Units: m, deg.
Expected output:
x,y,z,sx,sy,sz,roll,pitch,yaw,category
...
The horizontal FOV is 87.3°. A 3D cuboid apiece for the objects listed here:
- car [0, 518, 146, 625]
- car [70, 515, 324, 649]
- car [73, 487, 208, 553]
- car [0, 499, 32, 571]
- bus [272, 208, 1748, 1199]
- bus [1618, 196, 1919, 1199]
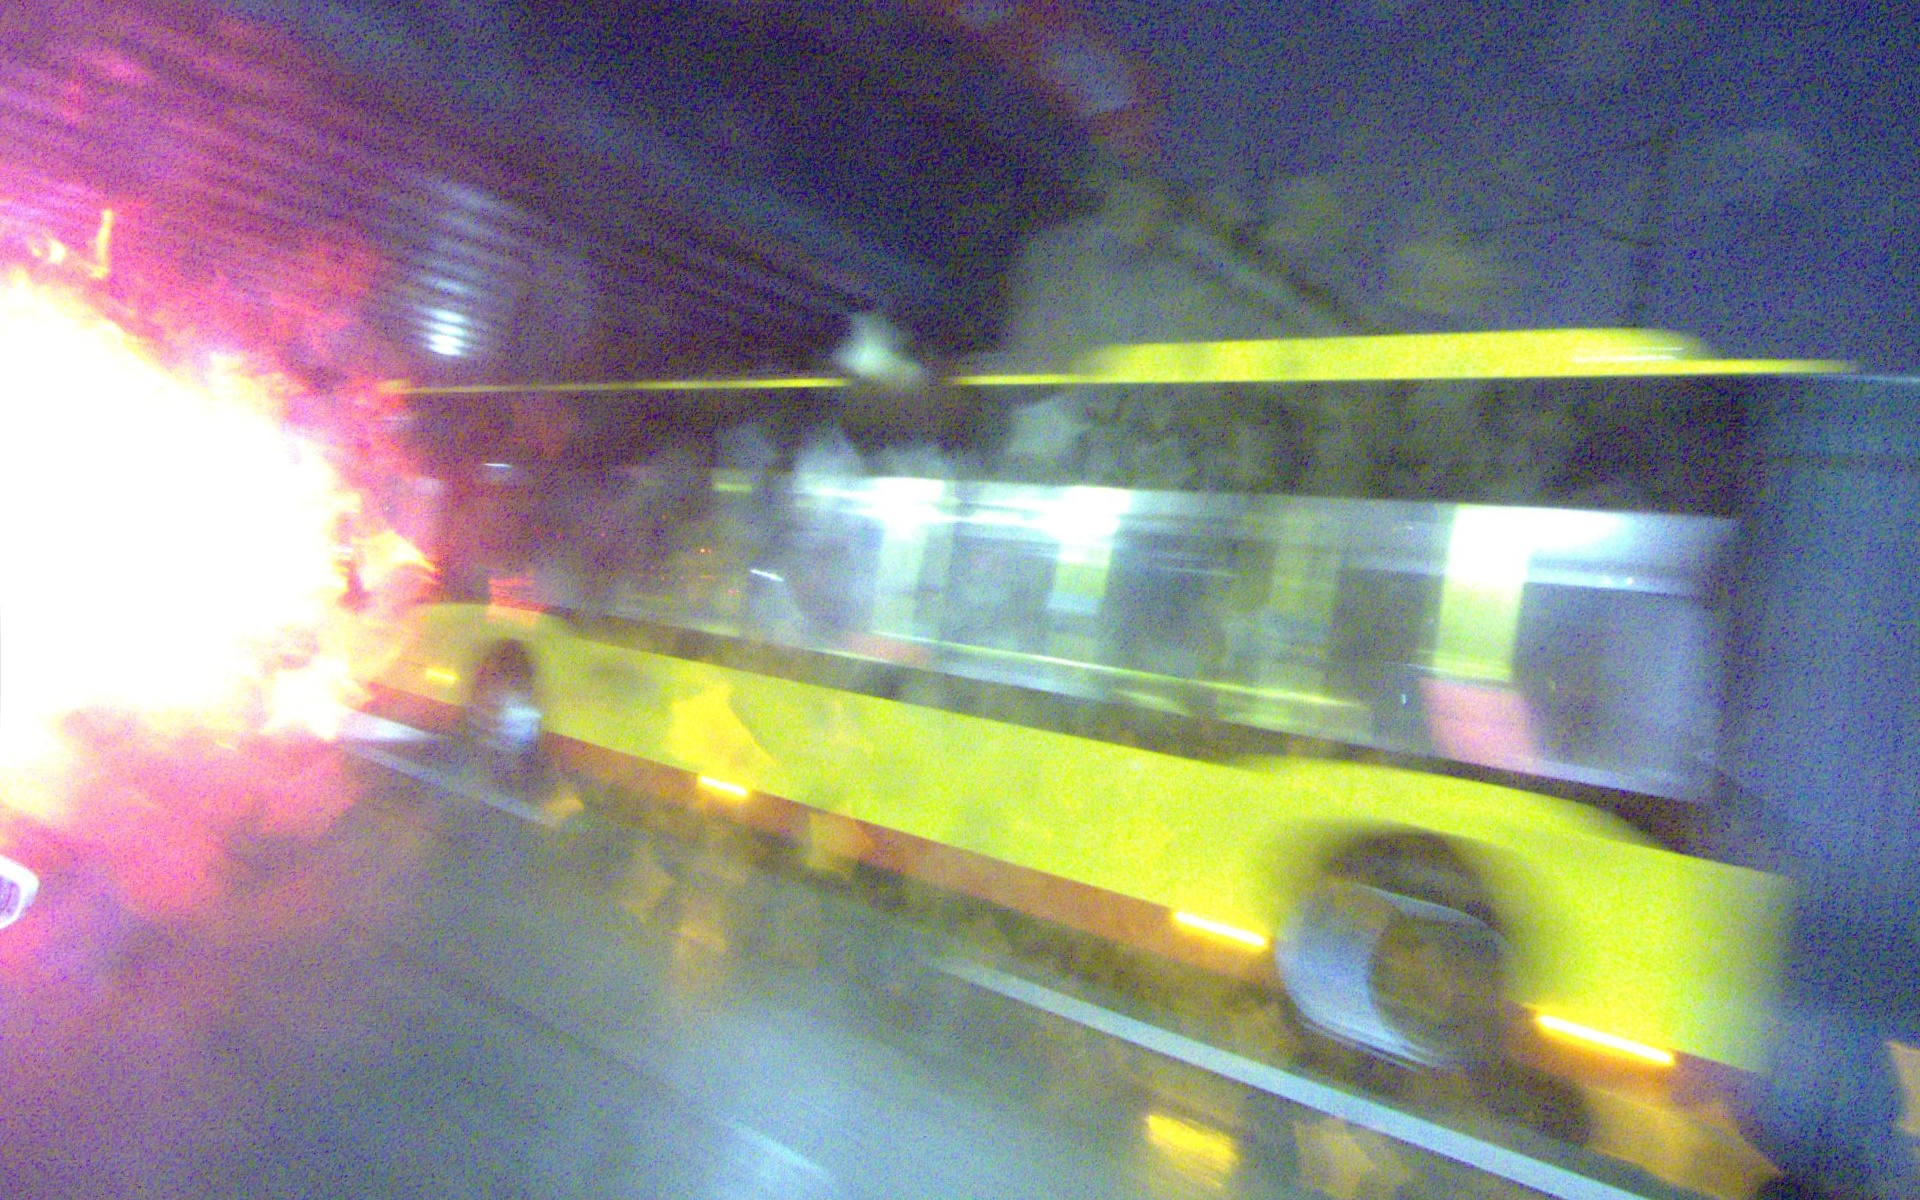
x,y,z,sx,sy,sz,roll,pitch,yaw,category
-16.432,-0.596,18.103,4.716,1.505,1.719,6,-1,39,car
-11.292,-0.294,14.808,4.097,1.505,1.720,6,0,35,car
-34.218,-3.325,42.070,1.973,2.037,3.982,6,-2,43,car
-21.860,-1.578,21.929,4.101,1.464,1.719,6,0,39,car
-0.880,0.073,7.032,9.542,3.315,2.738,6,-2,33,bus
7.166,0.931,1.888,9.540,3.276,2.739,6,-2,32,bus
